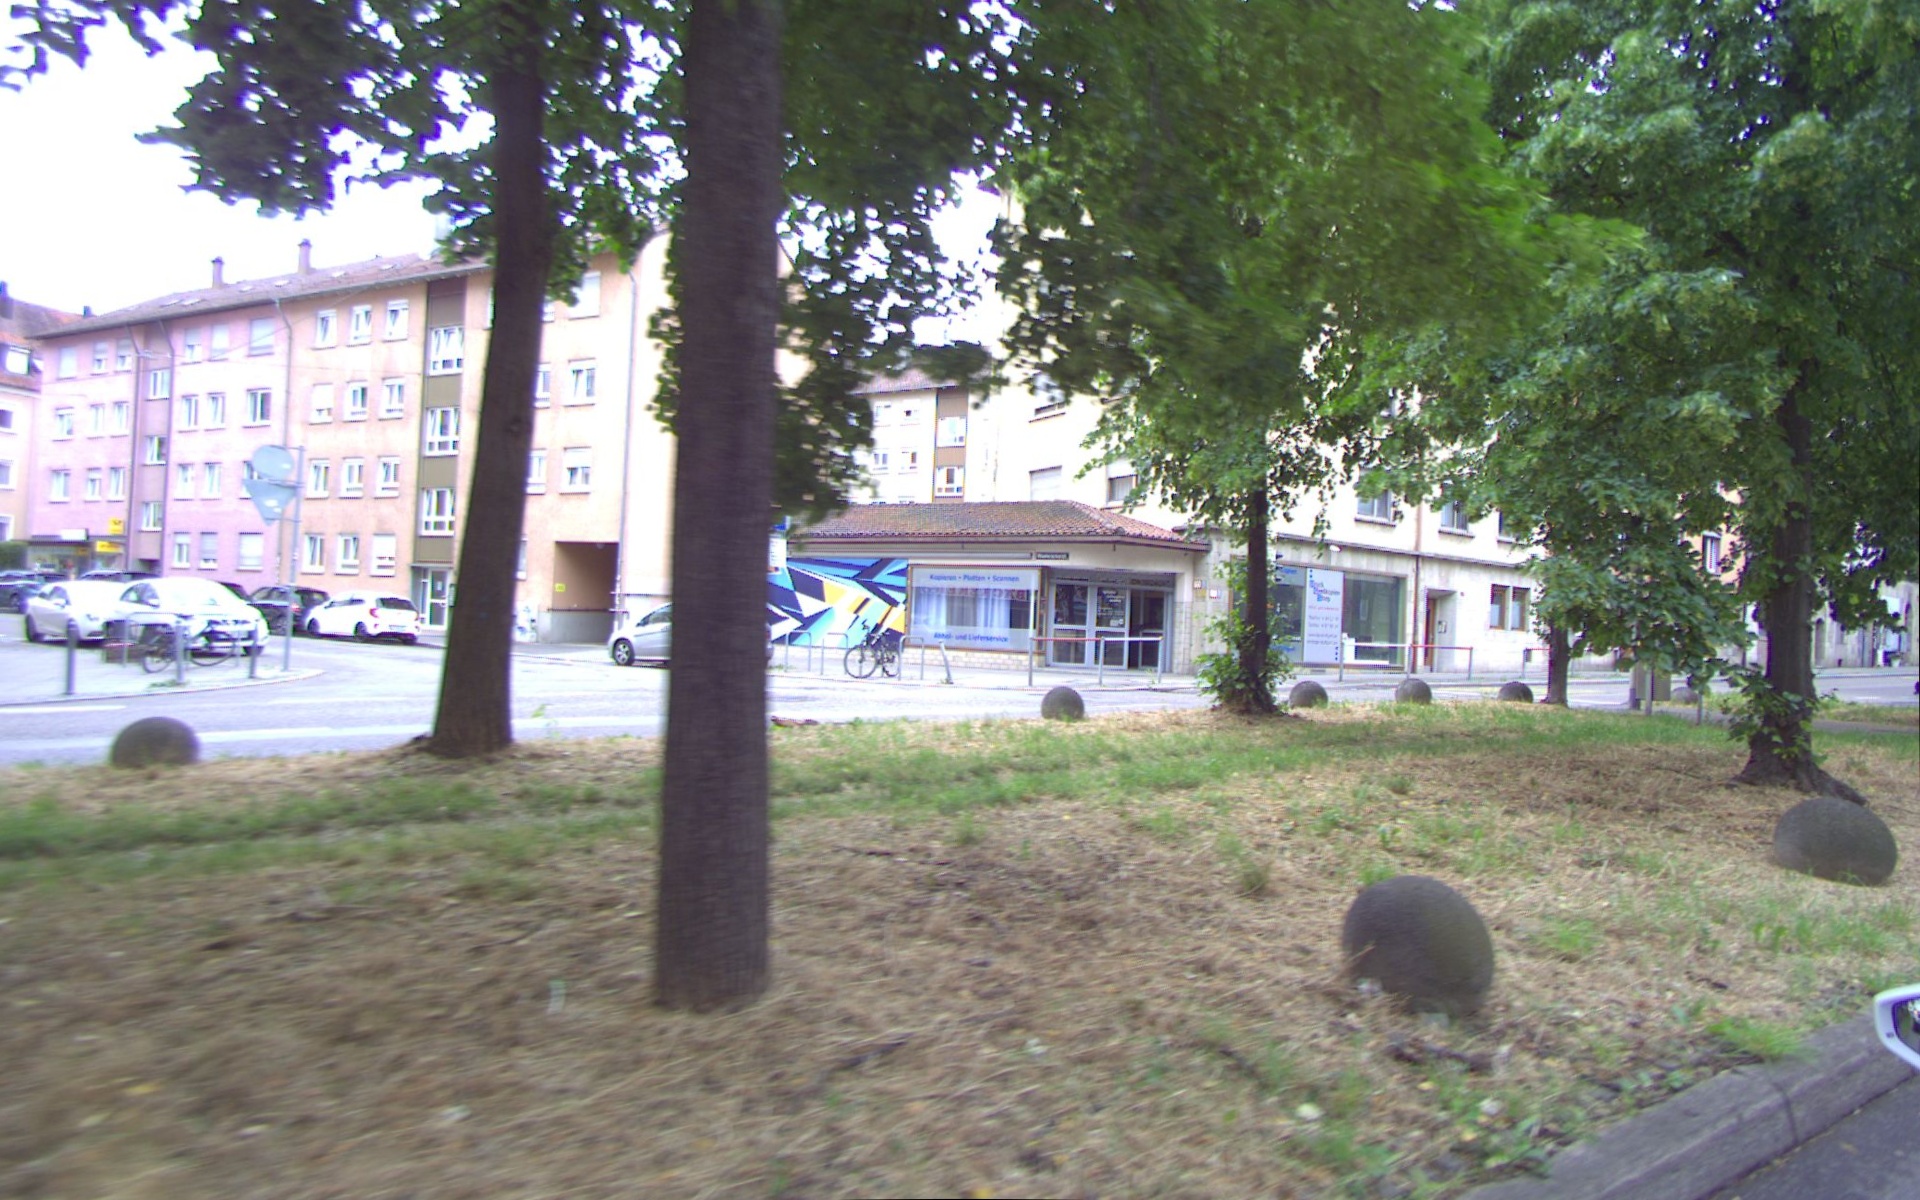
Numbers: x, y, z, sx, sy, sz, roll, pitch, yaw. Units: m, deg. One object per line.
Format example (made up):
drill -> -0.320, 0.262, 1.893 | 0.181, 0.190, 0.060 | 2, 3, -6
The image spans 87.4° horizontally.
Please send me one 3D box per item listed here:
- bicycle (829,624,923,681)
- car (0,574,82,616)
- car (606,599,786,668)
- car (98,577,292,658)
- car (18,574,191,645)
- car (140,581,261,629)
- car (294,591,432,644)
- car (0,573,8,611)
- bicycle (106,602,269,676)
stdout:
bicycle -> -1.727, 1.077, 21.014 | 0.752, 1.099, 2.029 | 3, 0, 38
car -> -35.762, -0.185, 38.460 | 3.826, 1.498, 1.794 | 0, -2, 25
car -> -6.255, 0.839, 23.764 | 3.968, 1.498, 1.819 | -2, -3, 28
car -> -15.911, 0.364, 20.886 | 3.697, 1.531, 1.819 | 0, -2, 28
car -> -20.015, 0.241, 23.497 | 3.697, 1.531, 1.819 | 0, -2, 28
car -> -25.510, 0.177, 33.723 | 3.829, 1.498, 1.793 | 0, -2, 28
car -> -17.899, 0.545, 30.105 | 3.829, 1.498, 1.793 | 0, -2, 28
car -> -40.622, -0.355, 40.582 | 3.826, 1.498, 1.794 | 0, -2, 25
bicycle -> -12.646, 0.604, 16.580 | 0.851, 1.060, 2.458 | 2, 1, -2
